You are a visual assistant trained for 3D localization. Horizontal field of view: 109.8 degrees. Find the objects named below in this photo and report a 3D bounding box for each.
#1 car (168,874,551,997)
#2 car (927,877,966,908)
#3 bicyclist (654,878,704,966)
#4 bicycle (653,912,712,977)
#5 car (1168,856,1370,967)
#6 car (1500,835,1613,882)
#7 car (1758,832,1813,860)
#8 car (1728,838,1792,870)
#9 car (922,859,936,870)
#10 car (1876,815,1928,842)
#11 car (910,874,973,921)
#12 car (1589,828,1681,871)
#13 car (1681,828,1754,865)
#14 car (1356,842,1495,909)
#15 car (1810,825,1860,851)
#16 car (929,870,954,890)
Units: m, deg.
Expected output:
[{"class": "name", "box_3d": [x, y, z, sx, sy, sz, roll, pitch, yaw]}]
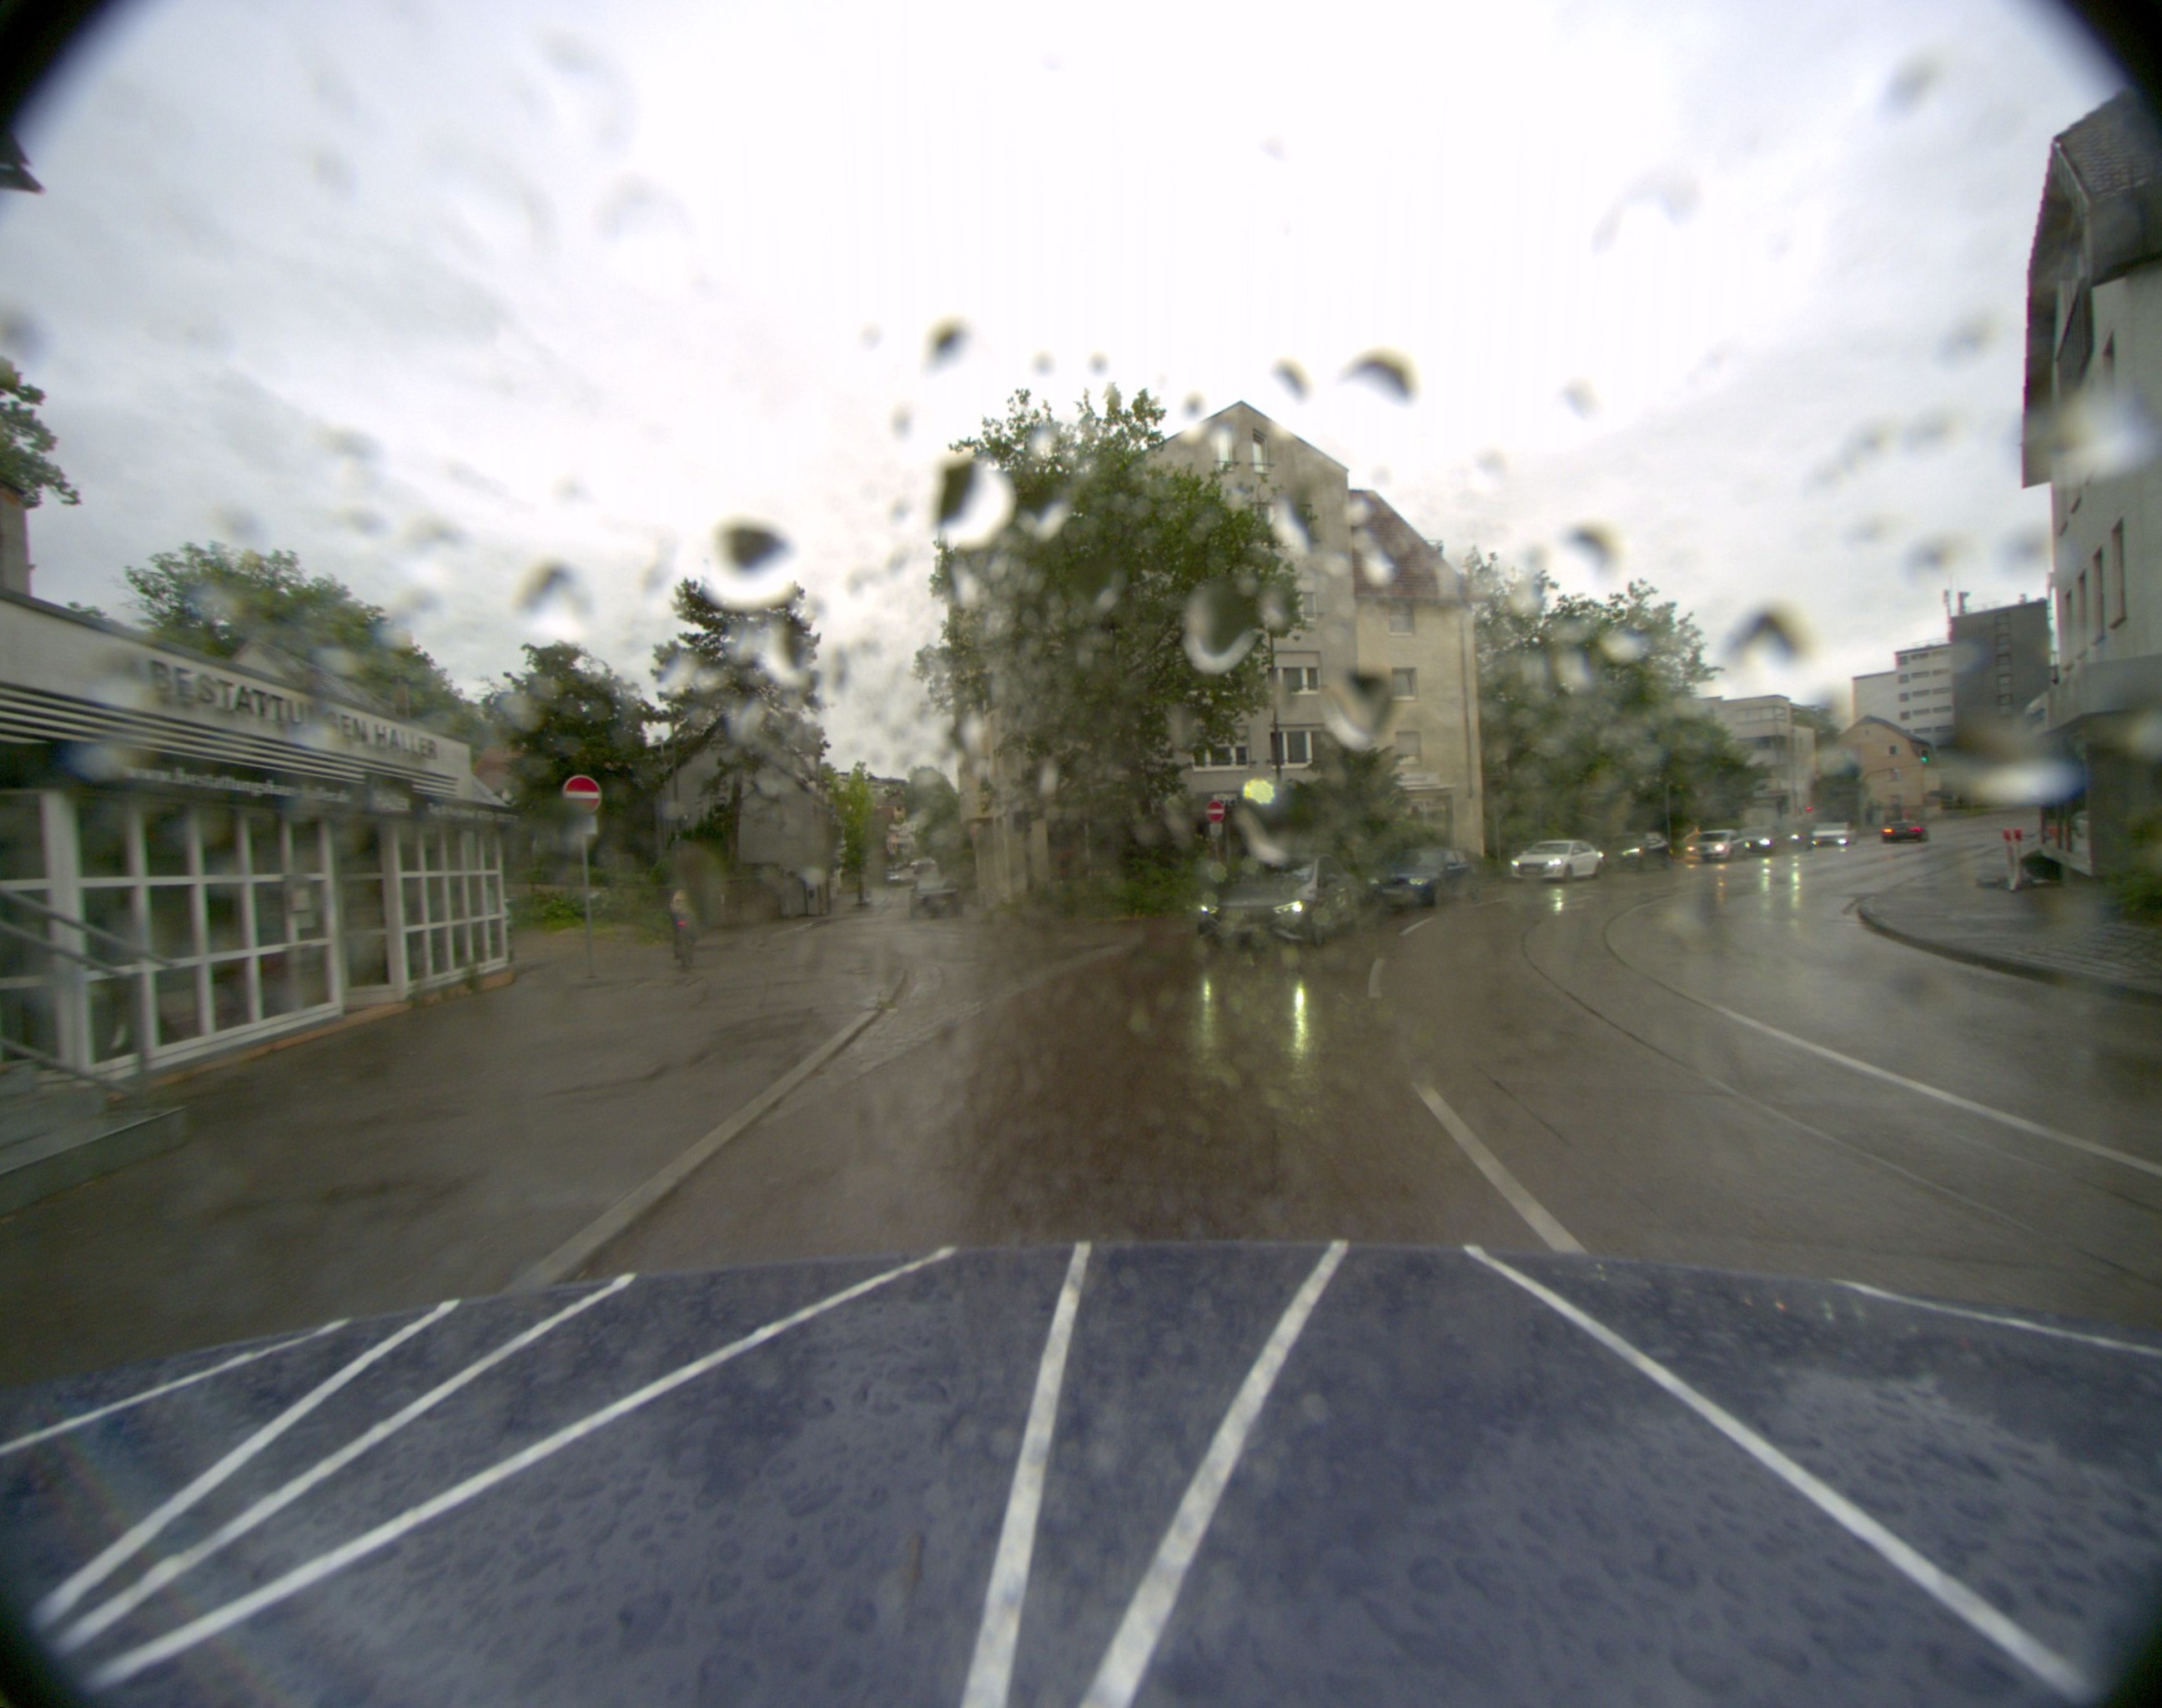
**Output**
[{"class": "car", "box_3d": [-11.474, 1.315, 12.517, 4.004, 1.760, 1.997, 3, -3, -19]}, {"class": "car", "box_3d": [-7.490, 2.119, 42.208, 2.000, 1.564, 3.997, -2, -2, -11]}, {"class": "bicyclist", "box_3d": [-7.275, 1.203, 13.800, 0.686, 1.509, 1.028, -2, 0, -25]}, {"class": "bicycle", "box_3d": [-7.182, 1.605, 13.773, 0.764, 1.028, 2.078, -3, -4, -24]}, {"class": "car", "box_3d": [3.466, 0.877, 13.370, 1.995, 1.484, 4.322, -2, 0, 35]}, {"class": "car", "box_3d": [16.933, 0.149, 27.006, 4.006, 1.444, 1.995, -3, 0, -36]}, {"class": "car", "box_3d": [42.535, -0.499, 45.863, 4.007, 1.469, 1.850, -3, 0, -39]}, {"class": "car", "box_3d": [36.966, -0.003, 41.344, 4.007, 1.542, 1.829, -2, -1, -37]}, {"class": "car", "box_3d": [-24.740, 1.701, 123.842, 2.001, 1.563, 3.997, -2, -2, -14]}, {"class": "car", "box_3d": [54.277, -1.692, 50.222, 4.007, 1.556, 1.810, -2, -1, -36]}, {"class": "car", "box_3d": [-5.546, 1.702, 30.714, 1.999, 1.641, 3.999, -3, -1, -4]}, {"class": "car", "box_3d": [22.971, -0.193, 31.483, 4.007, 1.556, 1.810, -2, -1, -35]}, {"class": "car", "box_3d": [31.178, -0.388, 37.214, 4.007, 1.612, 1.841, -3, 0, -37]}, {"class": "car", "box_3d": [9.182, 0.534, 20.076, 4.386, 1.523, 1.770, -2, -1, -44]}, {"class": "car", "box_3d": [50.328, -1.053, 50.725, 4.008, 1.542, 1.995, -1, -2, -41]}, {"class": "car", "box_3d": [-12.454, 2.309, 67.854, 2.000, 1.565, 3.996, -4, 1, -11]}]
